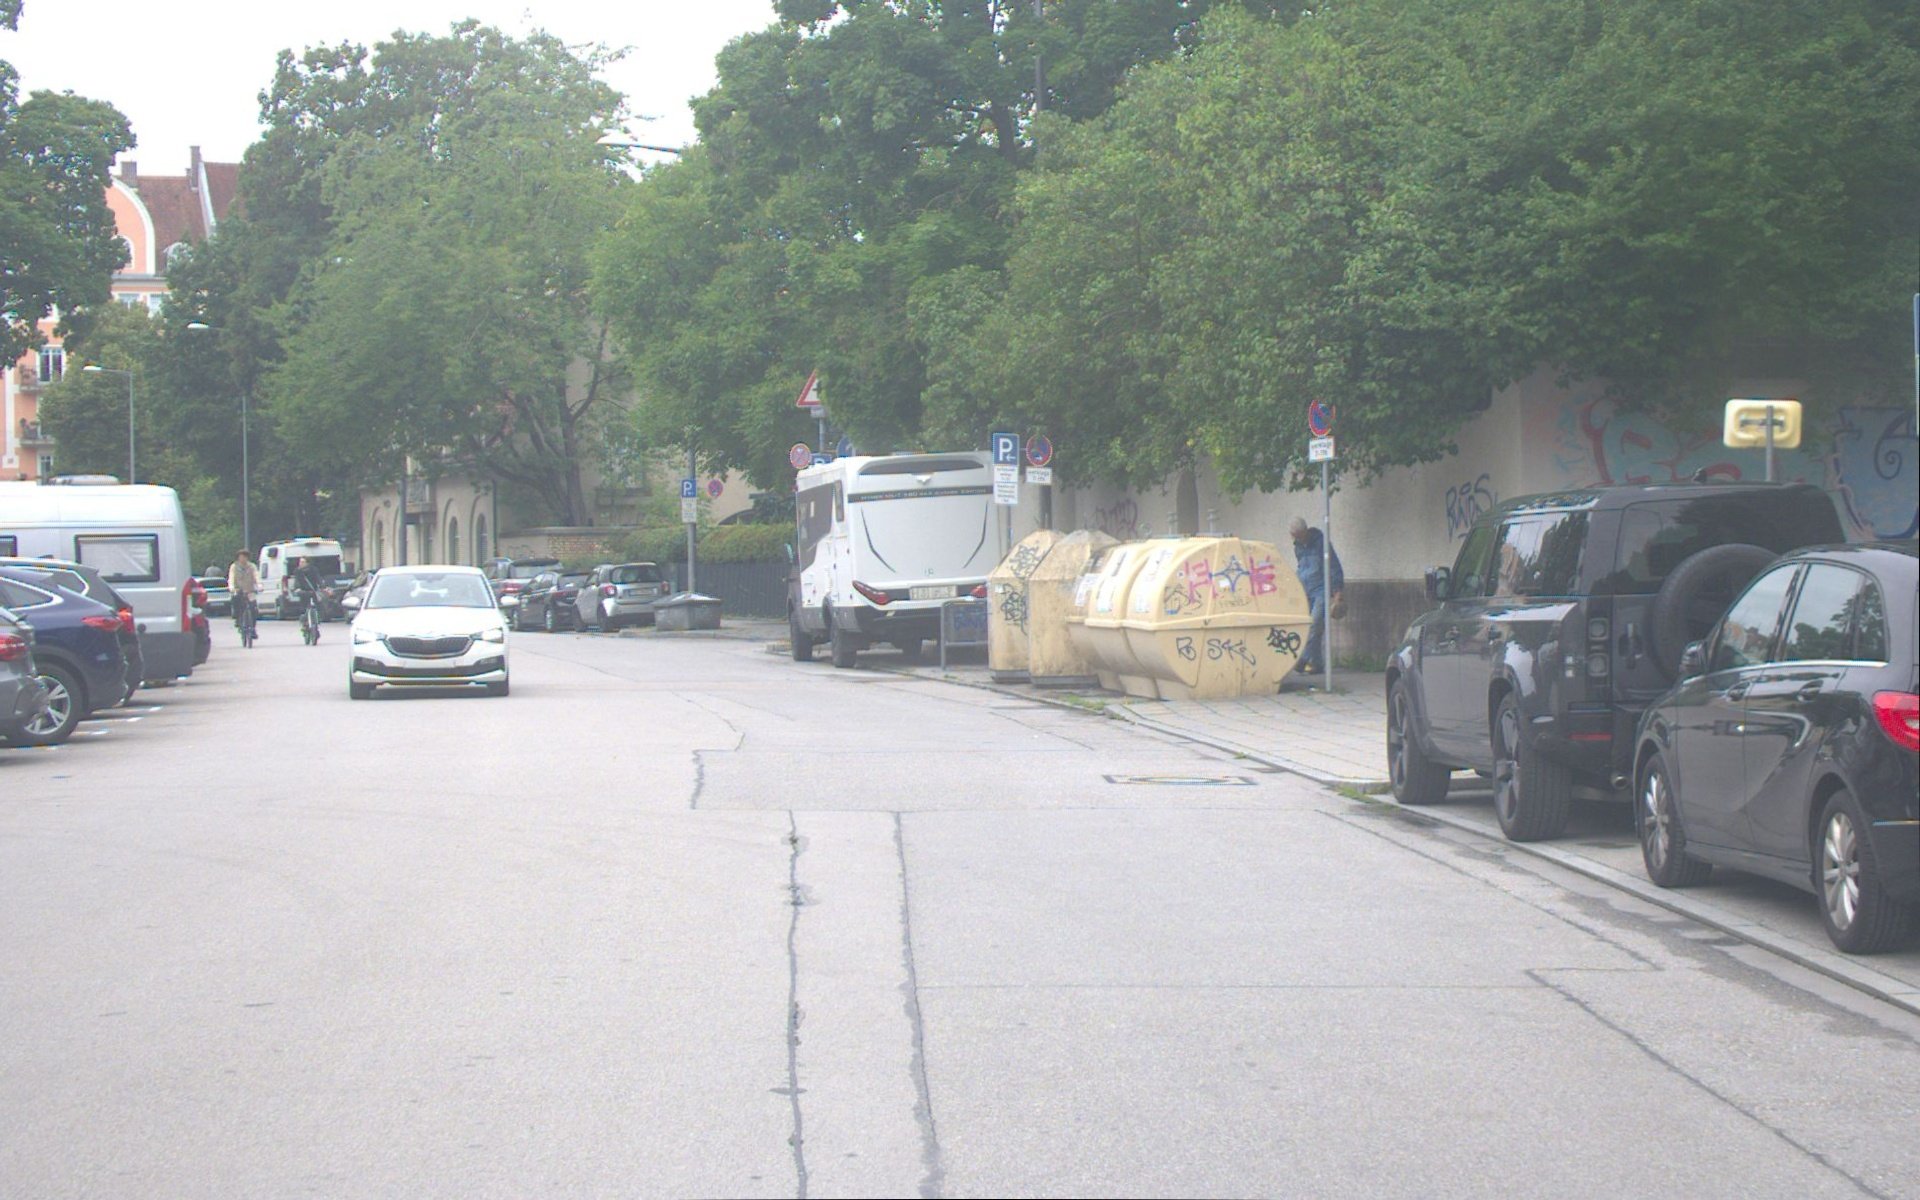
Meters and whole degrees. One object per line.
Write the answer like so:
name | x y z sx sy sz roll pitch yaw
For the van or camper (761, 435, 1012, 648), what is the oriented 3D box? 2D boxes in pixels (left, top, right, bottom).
van or camper | -1.205 -0.862 50.932 2.272 2.896 7.279 -1 1 -13

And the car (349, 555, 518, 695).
car | -5.918 0.236 38.928 1.772 1.470 4.135 -1 1 -7

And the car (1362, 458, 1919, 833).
car | 3.757 0.214 19.769 1.987 1.865 5.078 0 0 -4

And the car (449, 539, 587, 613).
car | -10.907 -0.596 84.636 1.993 1.705 4.886 -3 2 -24

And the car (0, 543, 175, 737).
car | -9.274 0.404 29.416 4.513 1.588 1.965 -3 1 -34

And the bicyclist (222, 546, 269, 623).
bicyclist | -13.104 -0.282 63.016 0.696 1.392 0.930 -1 1 -20

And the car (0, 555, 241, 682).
car | -11.631 0.239 43.492 4.514 1.446 1.977 -3 2 -38

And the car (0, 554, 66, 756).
car | -9.190 0.471 26.652 4.329 1.524 1.934 -1 0 -14

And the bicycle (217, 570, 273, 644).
bicycle | -13.114 0.114 63.037 0.707 1.301 2.119 -1 1 -20

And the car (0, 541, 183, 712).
car | -10.350 0.329 34.481 4.513 1.620 1.967 -3 0 -34

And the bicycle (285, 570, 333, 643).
bicycle | -12.028 0.114 63.480 0.706 1.301 2.119 -1 1 -14

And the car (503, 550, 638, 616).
car | -9.133 -0.405 80.343 1.877 1.422 4.223 -3 2 -24

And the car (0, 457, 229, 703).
car | -10.634 -0.207 37.484 4.623 2.554 2.234 -3 2 -34

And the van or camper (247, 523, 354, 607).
van or camper | -21.154 -1.120 110.047 2.192 2.541 5.729 -3 1 -22

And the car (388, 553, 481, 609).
car | -14.331 -0.508 93.599 1.685 1.436 4.001 -2 1 -21

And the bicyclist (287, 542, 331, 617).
bicyclist | -11.985 -0.381 63.314 0.696 1.347 0.930 -1 1 -15

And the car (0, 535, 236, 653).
car | -13.780 -0.089 53.397 4.514 1.659 1.987 -3 1 -41

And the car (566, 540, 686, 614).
car | -7.456 -0.492 76.551 1.738 1.531 2.947 -3 1 -24

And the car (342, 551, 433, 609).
car | -16.403 -0.579 98.311 1.707 1.532 4.241 -3 2 -21

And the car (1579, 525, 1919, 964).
car | 4.019 0.457 14.406 1.747 1.534 4.570 -1 1 -4

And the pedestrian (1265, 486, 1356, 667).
pedestrian | 3.889 -0.264 38.162 0.795 1.978 0.631 -1 1 -17

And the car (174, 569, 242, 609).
car | -27.817 -0.405 127.166 1.707 1.403 4.131 -3 1 -22
